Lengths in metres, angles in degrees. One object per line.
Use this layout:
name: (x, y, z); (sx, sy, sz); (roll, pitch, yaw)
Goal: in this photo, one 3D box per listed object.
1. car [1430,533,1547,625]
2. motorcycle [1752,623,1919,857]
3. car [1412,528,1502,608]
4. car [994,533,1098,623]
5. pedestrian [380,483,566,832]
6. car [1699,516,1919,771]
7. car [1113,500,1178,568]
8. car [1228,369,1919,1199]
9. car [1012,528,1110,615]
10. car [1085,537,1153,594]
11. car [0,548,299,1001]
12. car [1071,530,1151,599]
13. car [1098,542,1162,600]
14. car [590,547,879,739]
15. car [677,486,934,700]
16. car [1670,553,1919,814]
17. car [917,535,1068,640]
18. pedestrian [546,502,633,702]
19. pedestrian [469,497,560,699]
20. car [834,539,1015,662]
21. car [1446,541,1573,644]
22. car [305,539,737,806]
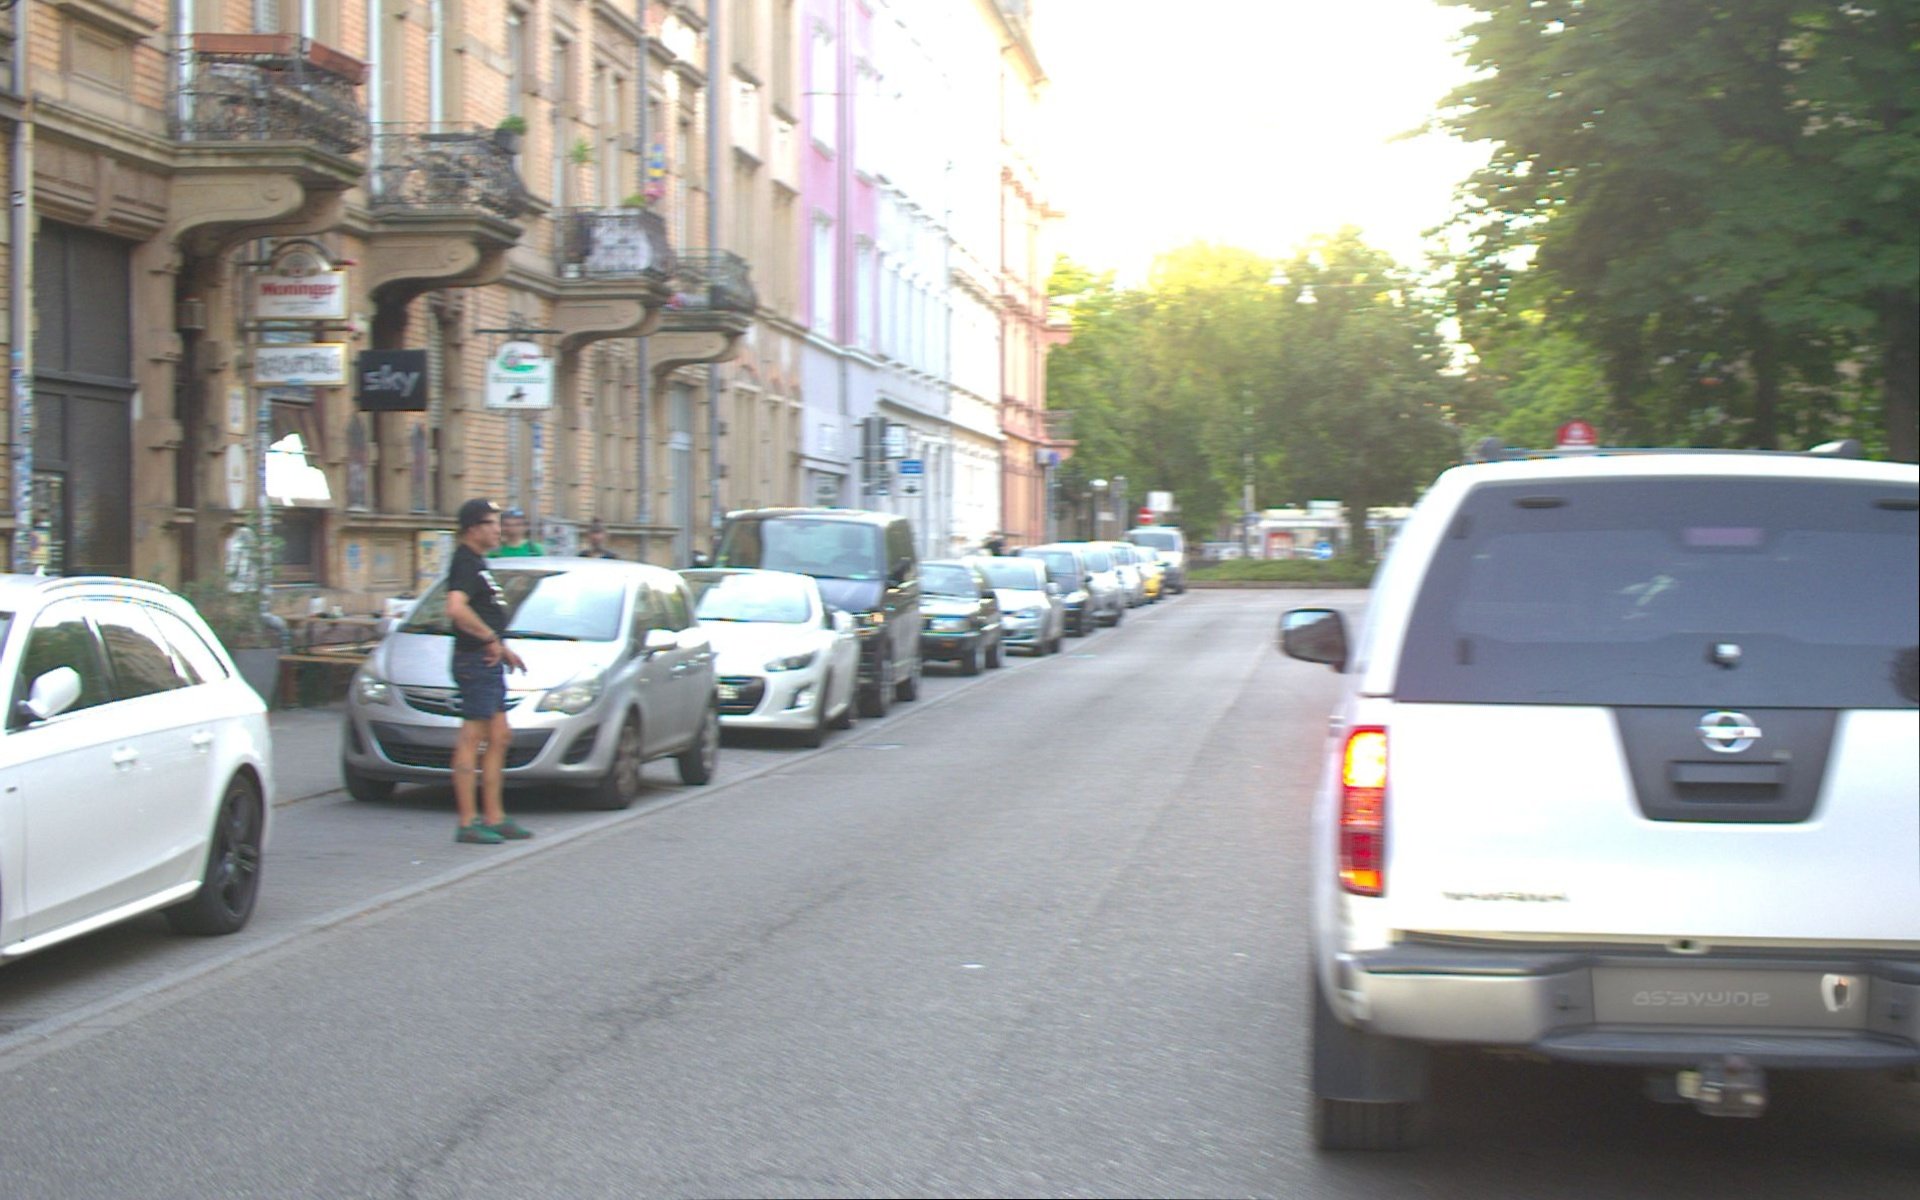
car: (9.145, -0.380, 59.692); (1.676, 1.451, 4.229); (-3, 1, 5)
motorcycle: (5.010, 0.648, 16.864); (2.057, 1.074, 0.664); (-2, 0, -9)
car: (10.096, -0.669, 70.028); (1.676, 1.496, 3.900); (-3, 1, 8)
car: (1.583, -0.422, 62.165); (1.636, 1.560, 3.781); (1, 1, 5)
pedestrian: (-2.514, 0.288, 17.829); (0.554, 1.749, 1.021); (1, 0, 17)
car: (7.416, 0.217, 23.496); (4.399, 1.642, 1.746); (-2, 1, 6)
car: (5.613, -2.009, 104.373); (1.811, 1.970, 4.186); (2, 1, 2)
car: (1.840, 0.427, 9.978); (1.911, 1.847, 5.270); (2, 1, 3)
car: (2.041, -0.577, 68.458); (1.845, 1.653, 4.252); (0, 1, 3)
car: (4.202, -0.918, 90.374); (1.698, 1.421, 4.022); (2, 1, 3)
car: (-3.856, 0.548, 12.091); (1.758, 1.407, 4.508); (1, 2, 6)
car: (3.729, -0.888, 84.372); (1.699, 1.615, 4.021); (2, 1, 6)
car: (4.785, -0.837, 96.278); (1.698, 1.547, 4.022); (2, 1, 3)
car: (-1.815, 0.297, 29.007); (1.784, 1.418, 4.485); (2, 1, 4)
car: (-1.453, -0.114, 34.303); (1.993, 1.917, 4.951); (2, 1, 3)
car: (6.711, 0.417, 20.797); (4.423, 1.450, 1.780); (-2, 1, 0)
car: (0.538, -0.212, 52.473); (1.834, 1.453, 4.206); (3, 1, 6)
pedestrian: (-3.367, 0.008, 31.269); (0.605, 1.766, 0.777); (3, 2, 2)
pedestrian: (-4.011, -0.032, 30.987); (0.580, 1.765, 0.997); (3, 2, 2)
car: (-0.390, -0.013, 43.334); (1.737, 1.413, 4.777); (2, 1, 6)
car: (8.501, -0.146, 53.473); (1.676, 1.424, 4.477); (-4, 1, 7)
car: (-2.640, 0.375, 21.601); (1.717, 1.452, 3.999); (2, 1, 7)
